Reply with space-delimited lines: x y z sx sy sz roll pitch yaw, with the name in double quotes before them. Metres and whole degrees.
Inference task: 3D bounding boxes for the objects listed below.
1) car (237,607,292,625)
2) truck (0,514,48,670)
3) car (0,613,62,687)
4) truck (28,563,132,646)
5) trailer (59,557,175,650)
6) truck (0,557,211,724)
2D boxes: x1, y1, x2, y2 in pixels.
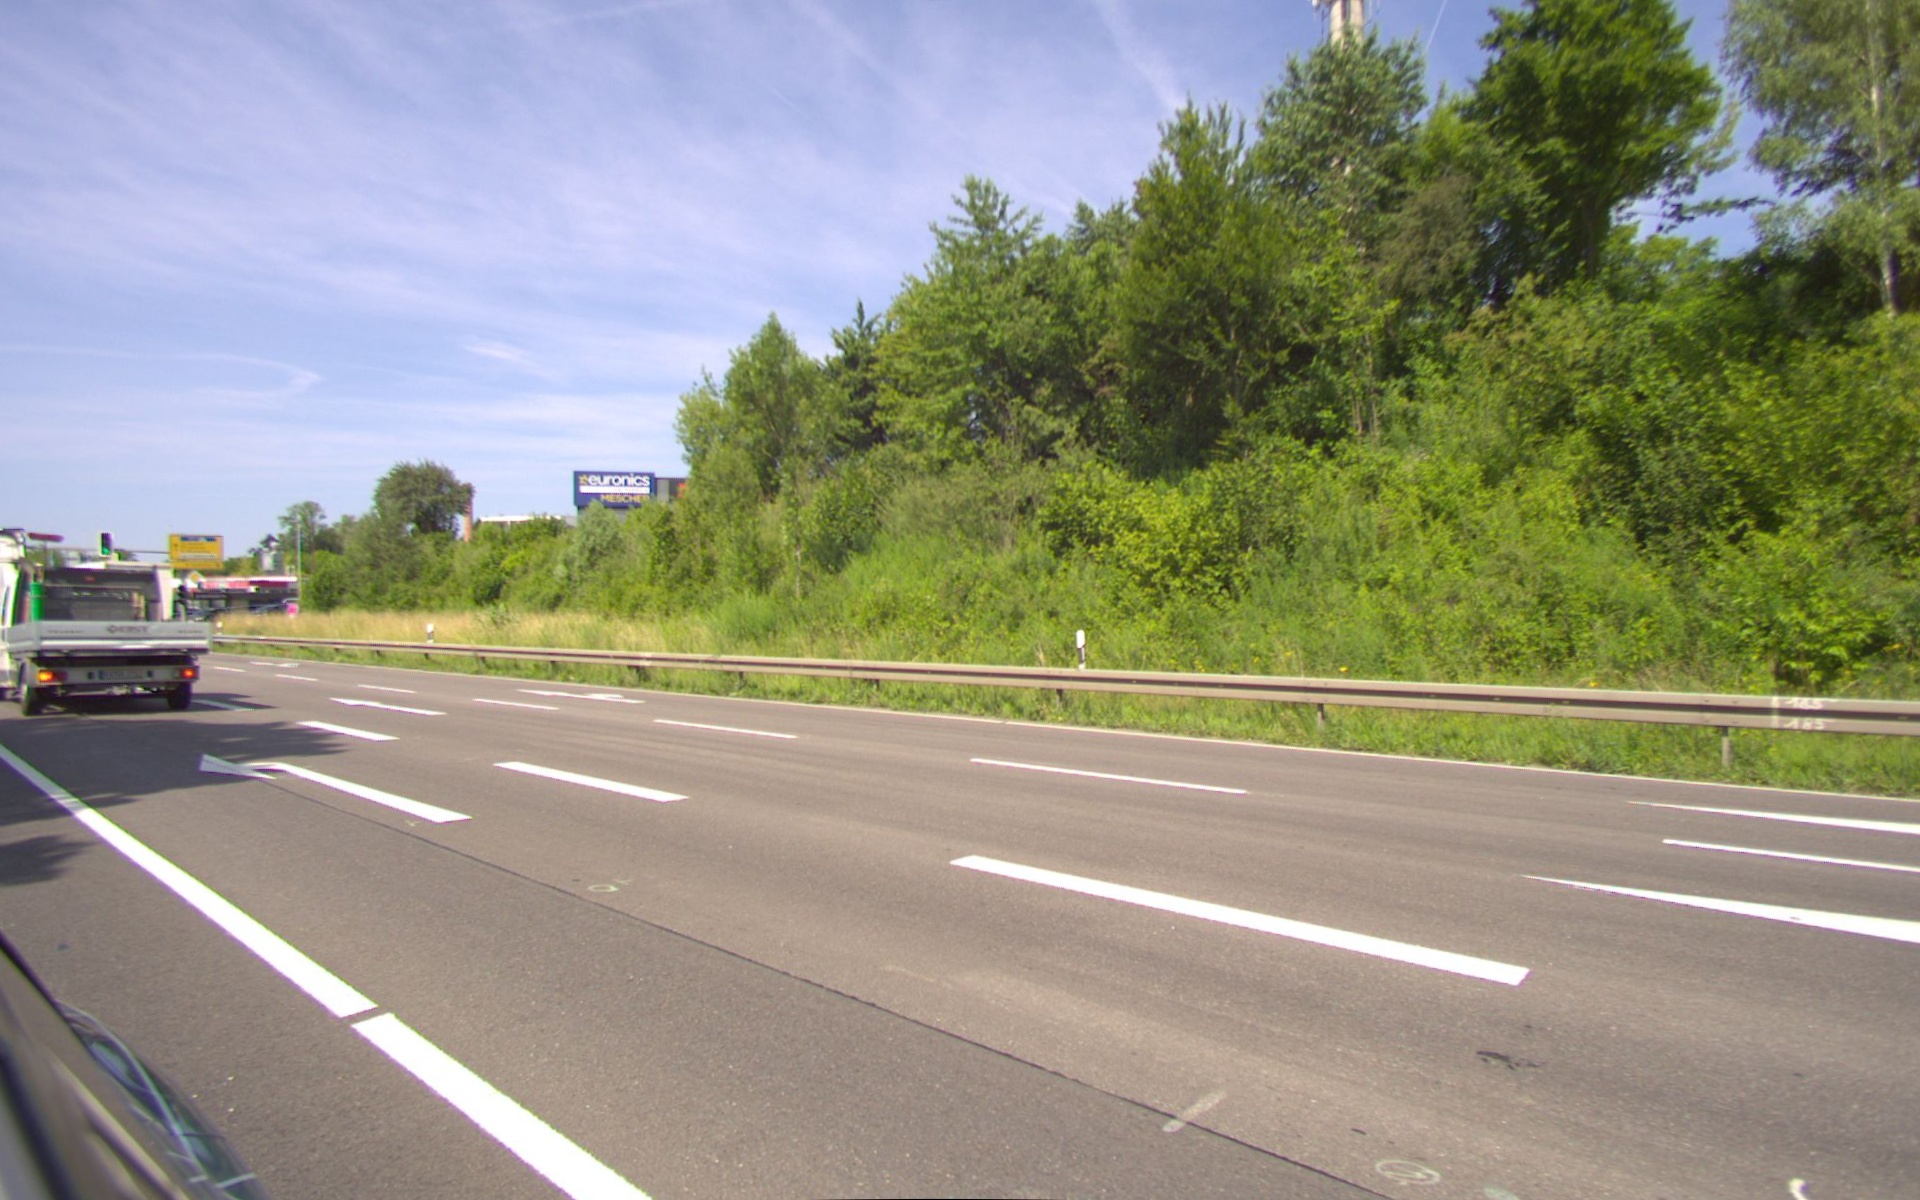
"car" -65.277 1.522 95.095 1.921 1.429 4.977 0 2 -2
"truck" -27.941 -0.188 28.475 6.261 4.119 2.511 -1 -1 40
"car" -21.845 1.086 22.967 4.107 1.563 1.693 -1 -1 41
"truck" -47.789 0.292 54.846 9.676 4.147 2.800 -1 -1 41
"trailer" -40.796 0.213 48.859 8.750 4.100 2.811 -1 -1 41
"truck" -14.662 0.595 16.877 6.497 2.285 2.203 -1 -1 42
